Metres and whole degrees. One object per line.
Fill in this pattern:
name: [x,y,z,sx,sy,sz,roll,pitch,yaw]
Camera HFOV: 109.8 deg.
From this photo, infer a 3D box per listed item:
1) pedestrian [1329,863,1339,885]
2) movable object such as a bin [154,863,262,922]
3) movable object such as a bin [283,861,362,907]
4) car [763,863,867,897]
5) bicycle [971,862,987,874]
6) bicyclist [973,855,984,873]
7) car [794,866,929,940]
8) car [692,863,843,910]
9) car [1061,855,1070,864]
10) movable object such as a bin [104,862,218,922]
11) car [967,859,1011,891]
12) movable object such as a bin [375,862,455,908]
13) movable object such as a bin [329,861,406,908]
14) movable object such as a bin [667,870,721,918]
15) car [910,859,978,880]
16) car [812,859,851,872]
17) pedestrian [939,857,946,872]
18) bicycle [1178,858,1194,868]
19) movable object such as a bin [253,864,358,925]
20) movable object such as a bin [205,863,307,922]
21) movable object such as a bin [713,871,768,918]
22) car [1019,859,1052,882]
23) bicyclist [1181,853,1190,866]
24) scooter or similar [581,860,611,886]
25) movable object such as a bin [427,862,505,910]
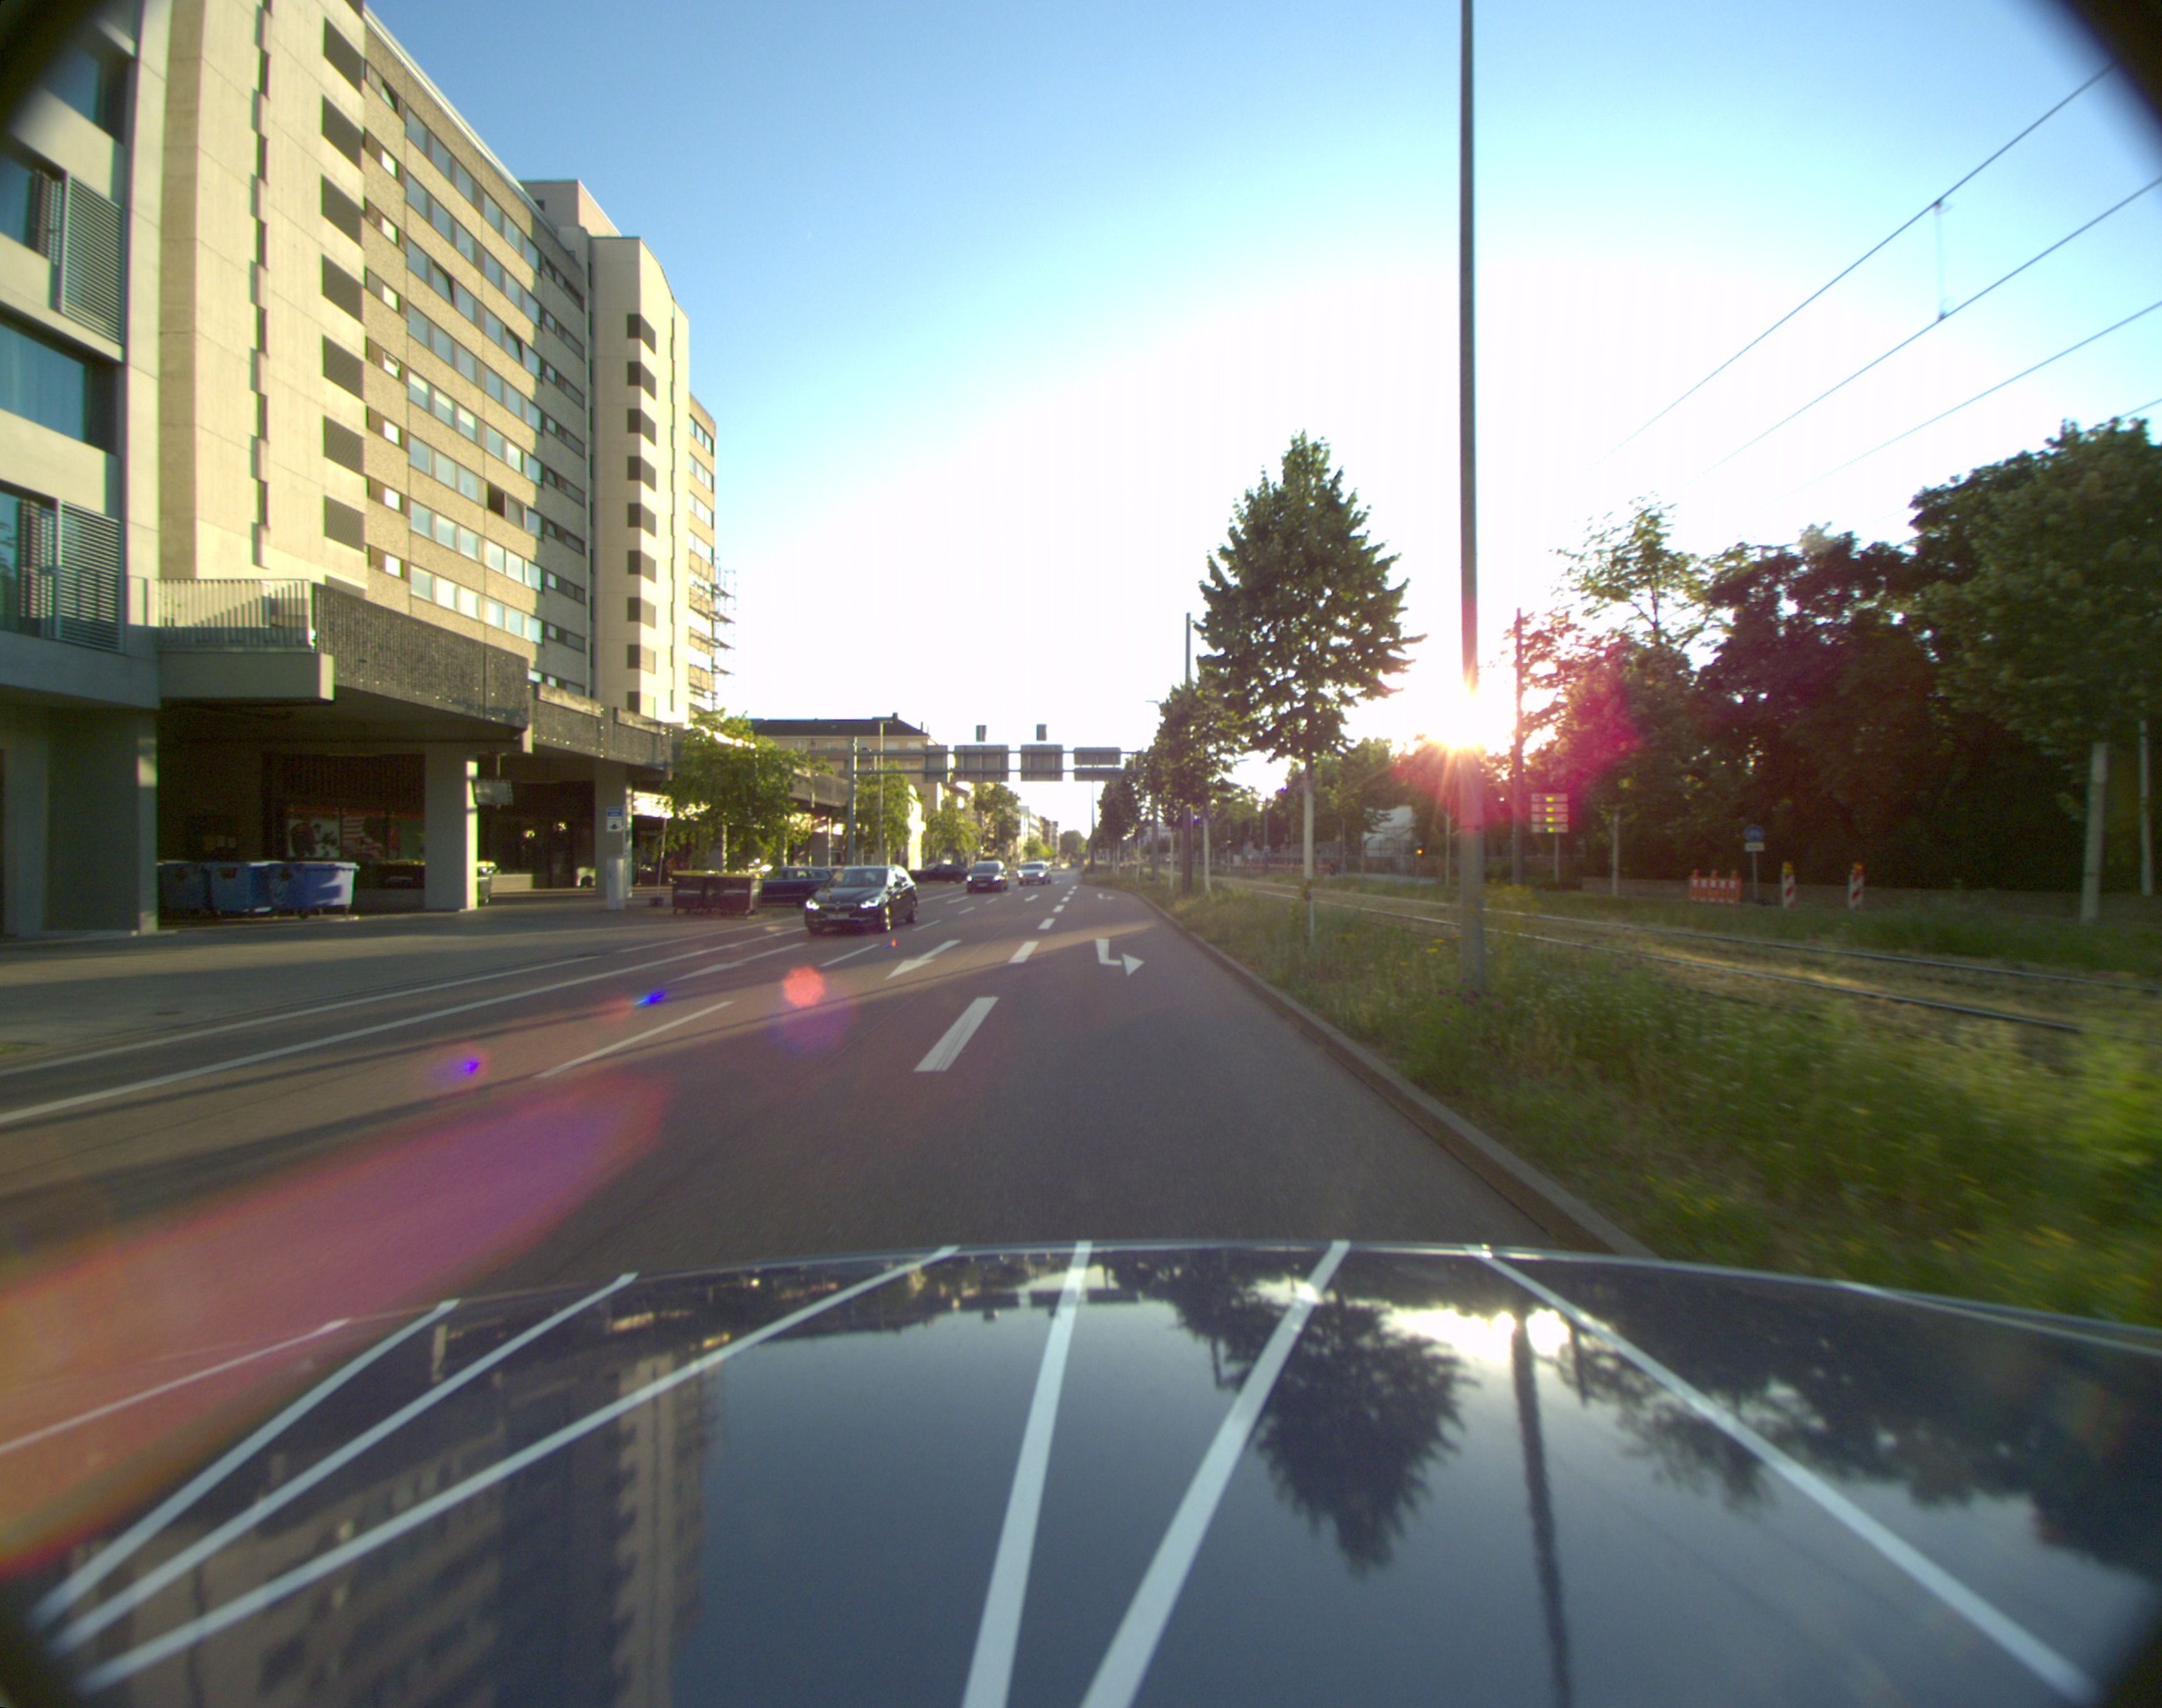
pedestrian: [19.366,1.525,58.143,0.670,1.597,0.679,-2,-4,15]
movable object such as a bin: [-20.310,0.872,17.717,1.035,1.322,1.283,1,0,0]
movable object such as a bin: [-21.953,0.859,22.012,1.184,1.305,1.088,0,0,0]
car: [-11.872,1.162,34.014,3.999,1.408,1.746,2,0,-37]
bicycle: [-9.725,1.318,72.060,0.821,1.166,2.143,1,0,-27]
bicyclist: [-9.726,0.900,72.072,0.821,1.682,0.959,1,0,-27]
car: [-5.222,1.096,18.826,1.825,1.510,4.792,-2,0,1]
car: [-11.338,1.167,27.663,4.679,1.499,1.934,2,0,-38]
car: [-3.261,1.126,163.811,1.727,1.909,4.293,-2,0,-3]
movable object such as a bin: [-21.389,0.858,17.701,1.076,1.322,1.283,1,0,0]
car: [-4.873,1.065,40.710,1.827,1.589,4.367,-2,0,0]
movable object such as a bin: [-19.333,0.880,22.106,1.184,1.291,1.304,0,0,0]
movable object such as a bin: [-20.738,0.867,22.118,1.184,1.305,1.124,0,0,0]
movable object such as a bin: [-11.520,1.181,22.677,1.016,1.339,1.160,2,0,-4]
car: [-10.127,1.141,56.195,4.617,1.444,1.808,2,-1,-40]
car: [-29.902,1.325,91.109,4.226,1.432,1.655,0,3,-4]
pedestrian: [-16.951,1.291,93.016,0.840,1.849,0.544,0,1,1]
bicycle: [13.700,1.189,99.517,1.893,1.126,0.718,-2,0,34]
movable object such as a bin: [-18.066,0.921,17.749,1.107,1.322,1.283,2,0,0]
movable object such as a bin: [-19.194,0.876,17.716,1.076,1.322,1.202,1,0,0]
movable object such as a bin: [-10.162,1.196,22.757,1.088,1.294,1.360,2,0,-5]
car: [-3.000,1.064,50.512,1.832,1.455,4.303,-2,0,0]
bicyclist: [13.681,0.702,99.515,0.942,1.611,0.718,-2,0,34]
scooter or similar: [-21.810,0.837,34.203,0.402,1.154,1.829,-2,0,-8]
movable object such as a bin: [-17.958,0.914,22.232,1.184,1.315,1.267,3,0,0]
